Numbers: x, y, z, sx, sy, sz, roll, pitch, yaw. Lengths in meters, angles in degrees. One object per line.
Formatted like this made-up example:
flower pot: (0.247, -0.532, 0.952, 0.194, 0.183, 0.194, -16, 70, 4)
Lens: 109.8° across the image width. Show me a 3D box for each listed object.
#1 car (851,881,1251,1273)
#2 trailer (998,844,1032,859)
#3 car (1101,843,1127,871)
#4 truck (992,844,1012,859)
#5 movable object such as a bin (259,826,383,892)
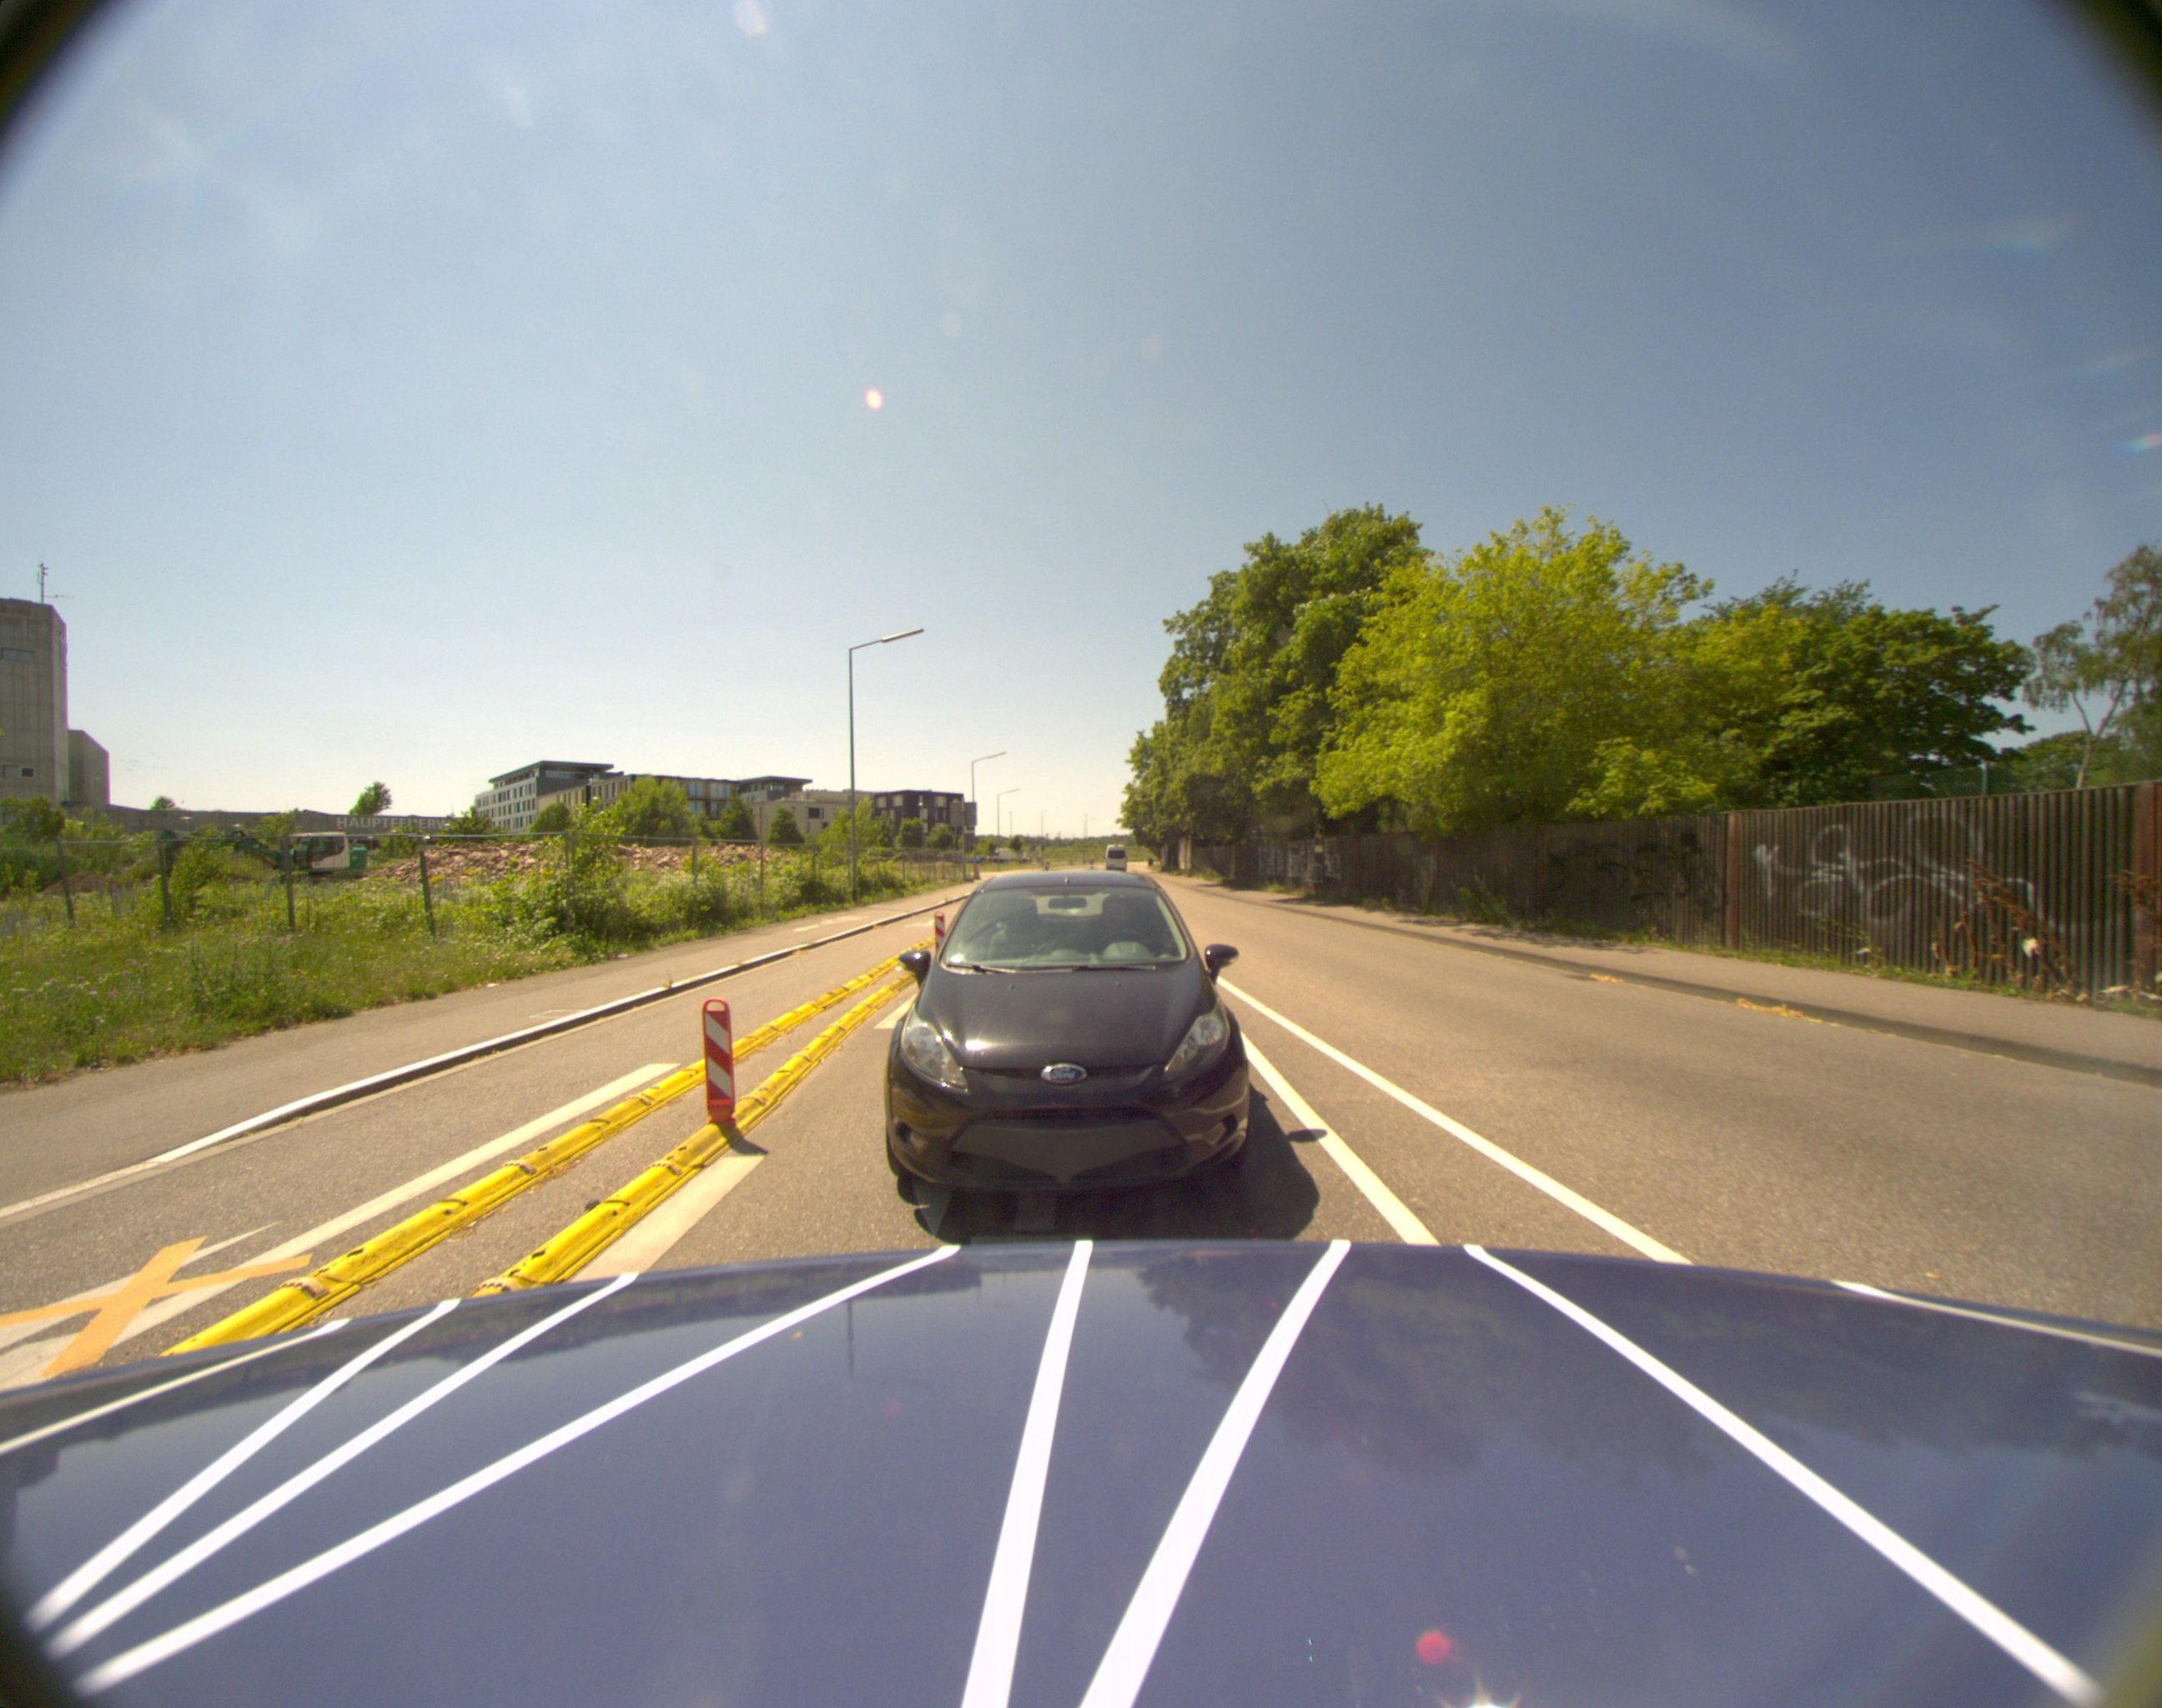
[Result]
car: (-0.102, 0.993, 5.123, 1.602, 1.422, 4.000, -2, 0, 1)
trailer: (-15.128, -0.629, 174.435, 8.194, 3.329, 1.994, -1, 0, -45)
car: (3.128, 0.243, 73.341, 2.025, 2.524, 6.825, 0, 0, -2)
truck: (-17.884, -0.628, 171.696, 4.008, 3.316, 1.994, -1, 1, -45)
movable object such as a bin: (-37.631, 0.236, 37.774, 2.204, 3.045, 3.690, -2, 1, 6)
